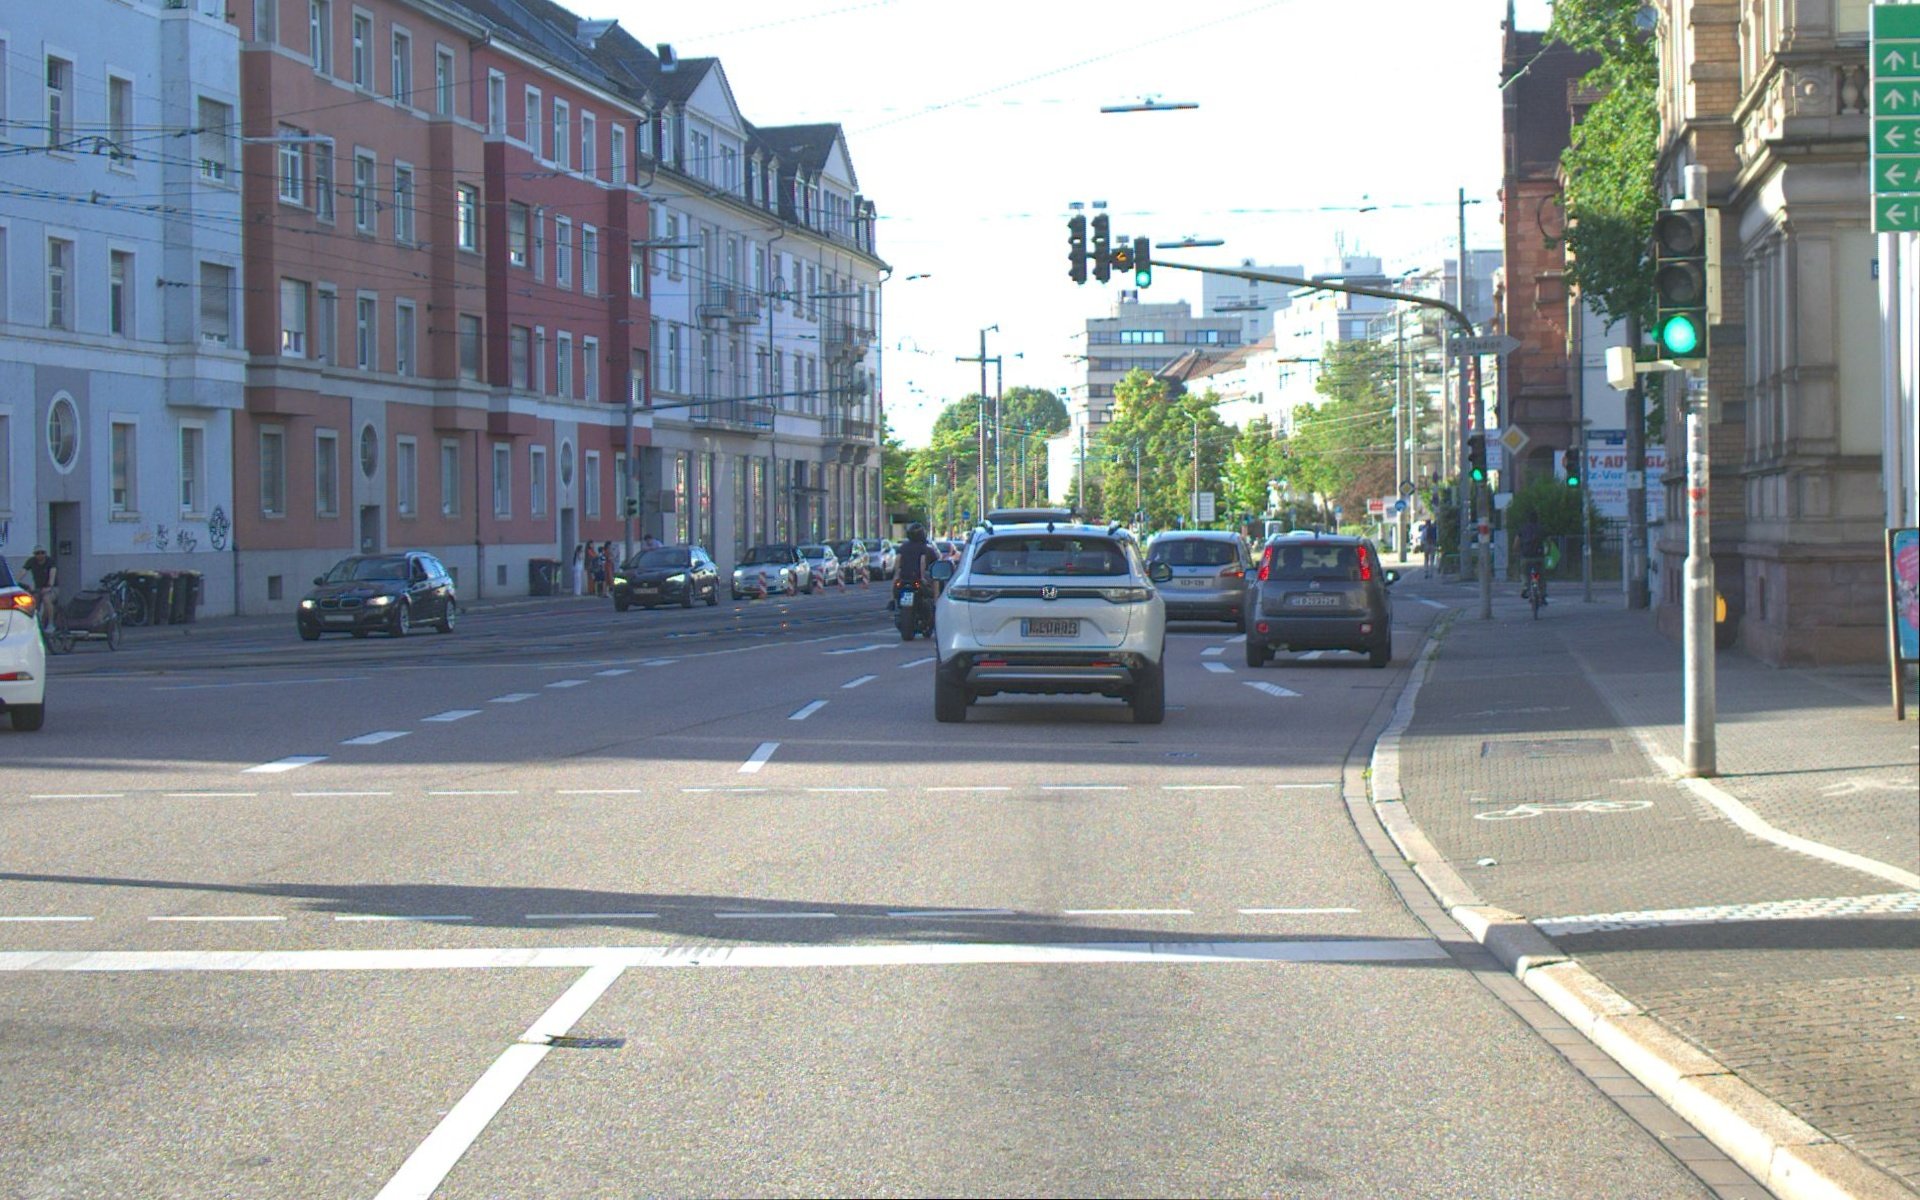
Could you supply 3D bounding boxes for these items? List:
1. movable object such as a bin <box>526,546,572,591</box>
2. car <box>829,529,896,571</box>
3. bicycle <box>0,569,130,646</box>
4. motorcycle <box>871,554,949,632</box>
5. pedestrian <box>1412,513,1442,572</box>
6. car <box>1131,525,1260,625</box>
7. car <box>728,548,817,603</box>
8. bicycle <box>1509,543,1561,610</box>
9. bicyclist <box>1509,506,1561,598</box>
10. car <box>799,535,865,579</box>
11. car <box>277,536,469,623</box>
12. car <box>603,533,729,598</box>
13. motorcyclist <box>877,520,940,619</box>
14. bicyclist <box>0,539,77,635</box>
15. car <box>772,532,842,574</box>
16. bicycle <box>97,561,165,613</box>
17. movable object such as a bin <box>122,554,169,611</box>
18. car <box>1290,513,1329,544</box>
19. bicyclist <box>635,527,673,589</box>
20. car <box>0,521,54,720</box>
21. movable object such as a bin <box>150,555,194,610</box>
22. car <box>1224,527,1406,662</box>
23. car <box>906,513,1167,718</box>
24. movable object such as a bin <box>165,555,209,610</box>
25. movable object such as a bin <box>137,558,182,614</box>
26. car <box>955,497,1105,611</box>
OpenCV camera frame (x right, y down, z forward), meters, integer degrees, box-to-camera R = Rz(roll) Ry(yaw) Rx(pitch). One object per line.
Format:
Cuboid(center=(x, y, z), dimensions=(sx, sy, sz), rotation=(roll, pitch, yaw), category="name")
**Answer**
Cuboid(center=(-11.508, -0.881, 96.263), dimensions=(0.871, 1.245, 1.232), rotation=(0, 1, 15), category="movable object such as a bin")
Cuboid(center=(-3.733, -1.942, 132.624), dimensions=(1.836, 1.546, 4.273), rotation=(-1, 1, 8), category="car")
Cuboid(center=(-13.425, 0.090, 50.631), dimensions=(0.934, 1.052, 3.352), rotation=(0, 1, 13), category="bicycle")
Cuboid(center=(-0.715, -0.116, 49.926), dimensions=(0.777, 1.078, 2.280), rotation=(0, 1, 8), category="motorcycle")
Cuboid(center=(14.446, -1.783, 106.235), dimensions=(0.876, 1.818, 1.184), rotation=(0, 1, 10), category="pedestrian")
Cuboid(center=(3.893, -0.429, 56.261), dimensions=(1.815, 1.576, 3.999), rotation=(0, 1, 8), category="car")
Cuboid(center=(-4.944, -0.660, 91.071), dimensions=(1.726, 1.370, 3.533), rotation=(-1, 1, 7), category="car")
Cuboid(center=(9.508, -0.396, 56.864), dimensions=(0.771, 1.082, 1.870), rotation=(0, 1, 7), category="bicycle")
Cuboid(center=(9.504, -0.795, 56.845), dimensions=(0.834, 1.520, 0.993), rotation=(0, 1, 8), category="bicyclist")
Cuboid(center=(-4.672, -1.585, 125.922), dimensions=(1.720, 1.546, 3.855), rotation=(-1, 1, 8), category="car")
Cuboid(center=(-9.836, -0.373, 57.988), dimensions=(1.994, 1.387, 4.561), rotation=(0, 1, 7), category="car")
Cuboid(center=(-6.734, -0.815, 79.170), dimensions=(1.923, 1.450, 4.497), rotation=(0, 1, 8), category="car")
Cuboid(center=(-0.742, -0.452, 49.743), dimensions=(0.777, 1.418, 0.891), rotation=(0, 1, 8), category="motorcyclist")
Cuboid(center=(-13.561, -0.195, 50.059), dimensions=(0.934, 1.377, 1.147), rotation=(0, 1, 13), category="bicyclist")
Cuboid(center=(-5.373, -1.662, 121.019), dimensions=(1.720, 1.447, 3.999), rotation=(-1, 1, 8), category="car")
Cuboid(center=(-15.969, -0.262, 66.268), dimensions=(0.605, 0.976, 1.876), rotation=(1, 1, 8), category="bicycle")
Cuboid(center=(-15.972, -0.345, 67.416), dimensions=(0.702, 1.102, 0.648), rotation=(0, 1, 8), category="movable object such as a bin")
Cuboid(center=(18.843, -3.852, 185.235), dimensions=(1.994, 1.656, 4.496), rotation=(0, 1, 7), category="car")
Cuboid(center=(-8.044, -1.107, 90.363), dimensions=(0.746, 1.637, 1.125), rotation=(0, 1, 9), category="bicyclist")
Cuboid(center=(-7.940, 0.114, 25.667), dimensions=(1.786, 1.389, 4.106), rotation=(-1, 1, -22), category="car")
Cuboid(center=(-15.758, -0.351, 68.760), dimensions=(0.702, 1.102, 0.582), rotation=(0, 1, 8), category="movable object such as a bin")
Cuboid(center=(4.232, -0.105, 40.548), dimensions=(1.732, 1.495, 3.998), rotation=(0, 1, 12), category="car")
Cuboid(center=(0.652, 0.065, 27.723), dimensions=(1.947, 1.523, 4.090), rotation=(0, 1, 2), category="car")
Cuboid(center=(-15.604, -0.349, 69.440), dimensions=(0.702, 1.102, 0.582), rotation=(0, 1, 8), category="movable object such as a bin")
Cuboid(center=(-15.848, -0.286, 68.062), dimensions=(0.702, 1.102, 0.582), rotation=(0, 1, 9), category="movable object such as a bin")
Cuboid(center=(1.339, -0.855, 63.115), dimensions=(2.173, 2.002, 4.807), rotation=(0, 1, 8), category="car")
